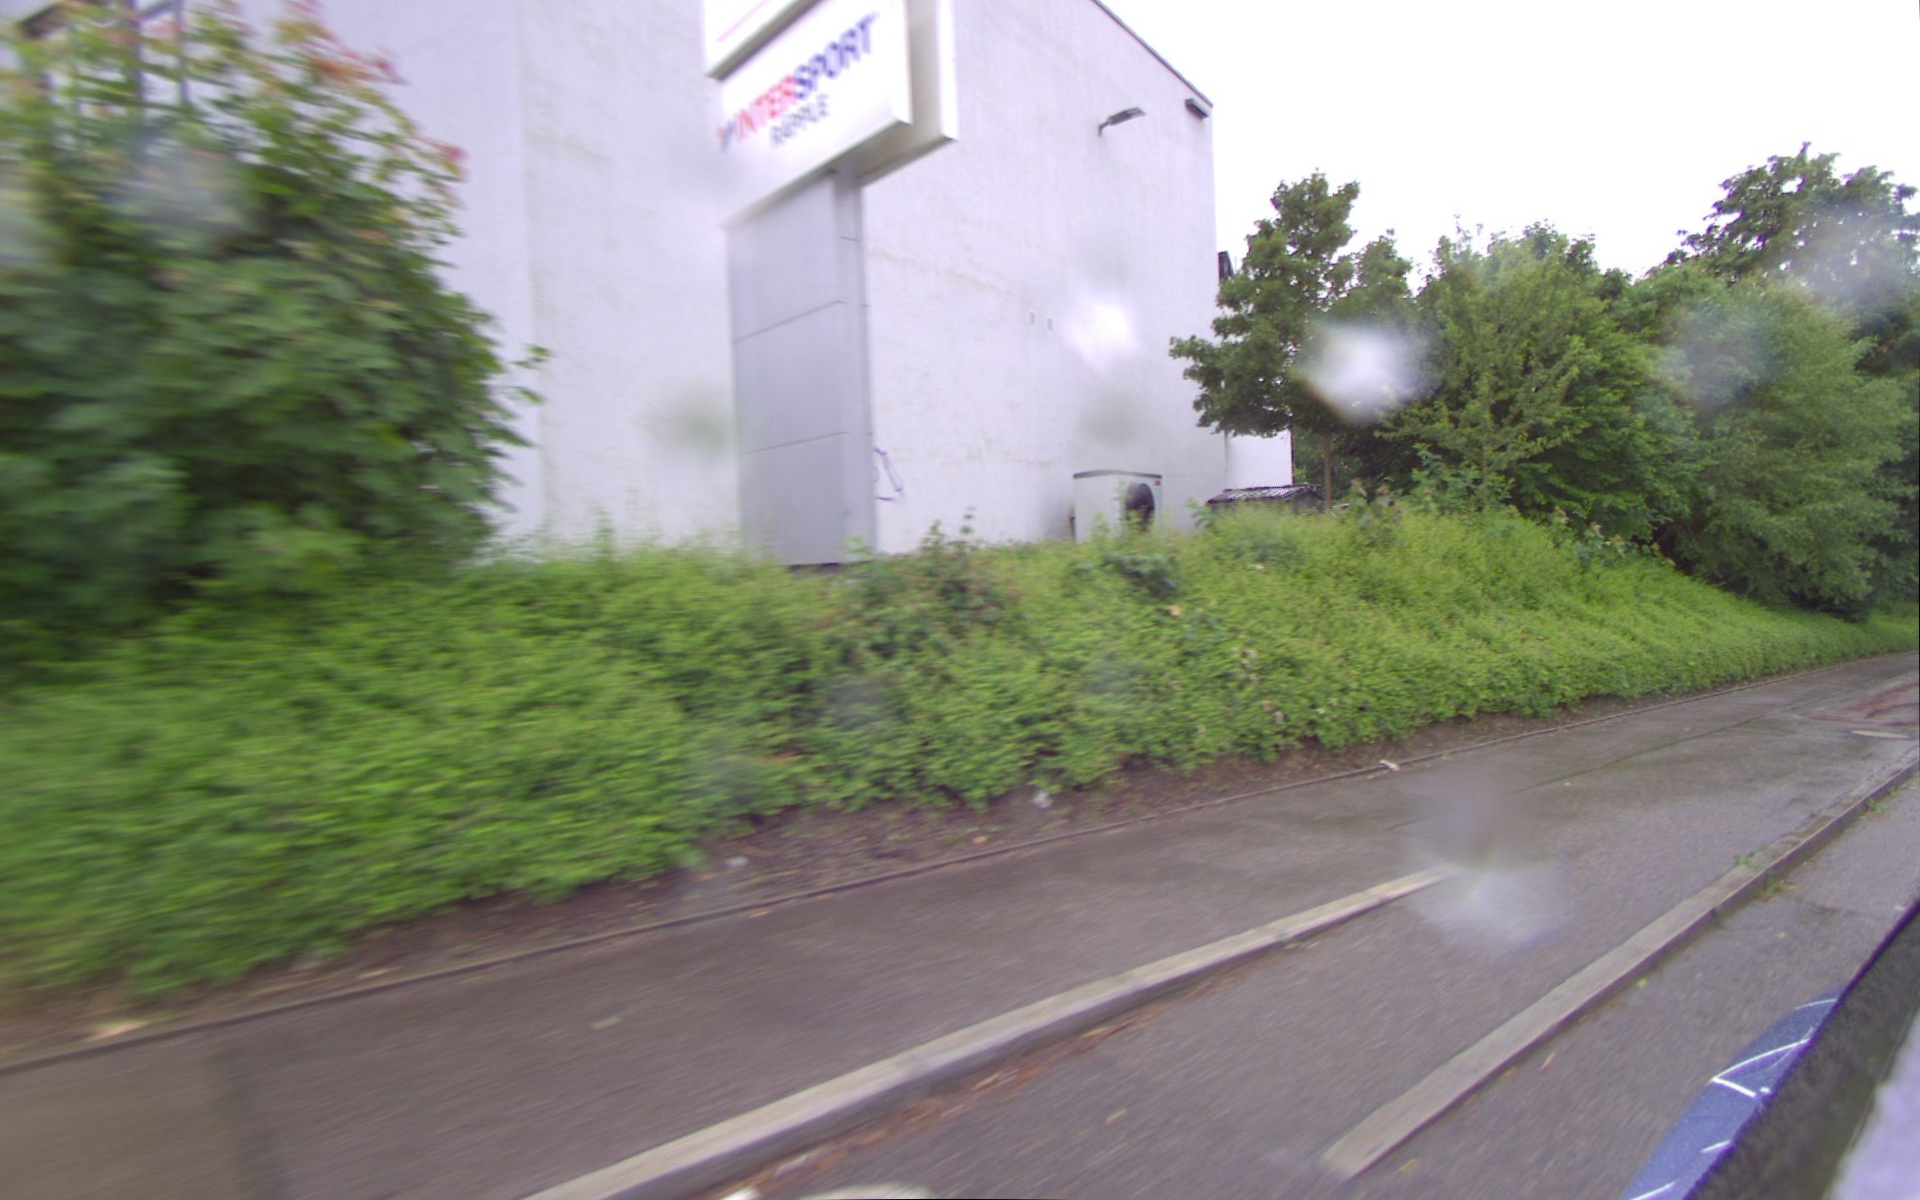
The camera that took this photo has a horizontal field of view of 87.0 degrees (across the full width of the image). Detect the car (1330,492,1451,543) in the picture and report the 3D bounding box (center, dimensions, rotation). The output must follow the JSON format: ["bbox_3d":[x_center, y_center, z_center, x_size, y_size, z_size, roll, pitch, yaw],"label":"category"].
[{"bbox_3d":[12.768,-2.422,30.061,2.984,1.210,1.470,-3,1,38],"label":"car"}]
